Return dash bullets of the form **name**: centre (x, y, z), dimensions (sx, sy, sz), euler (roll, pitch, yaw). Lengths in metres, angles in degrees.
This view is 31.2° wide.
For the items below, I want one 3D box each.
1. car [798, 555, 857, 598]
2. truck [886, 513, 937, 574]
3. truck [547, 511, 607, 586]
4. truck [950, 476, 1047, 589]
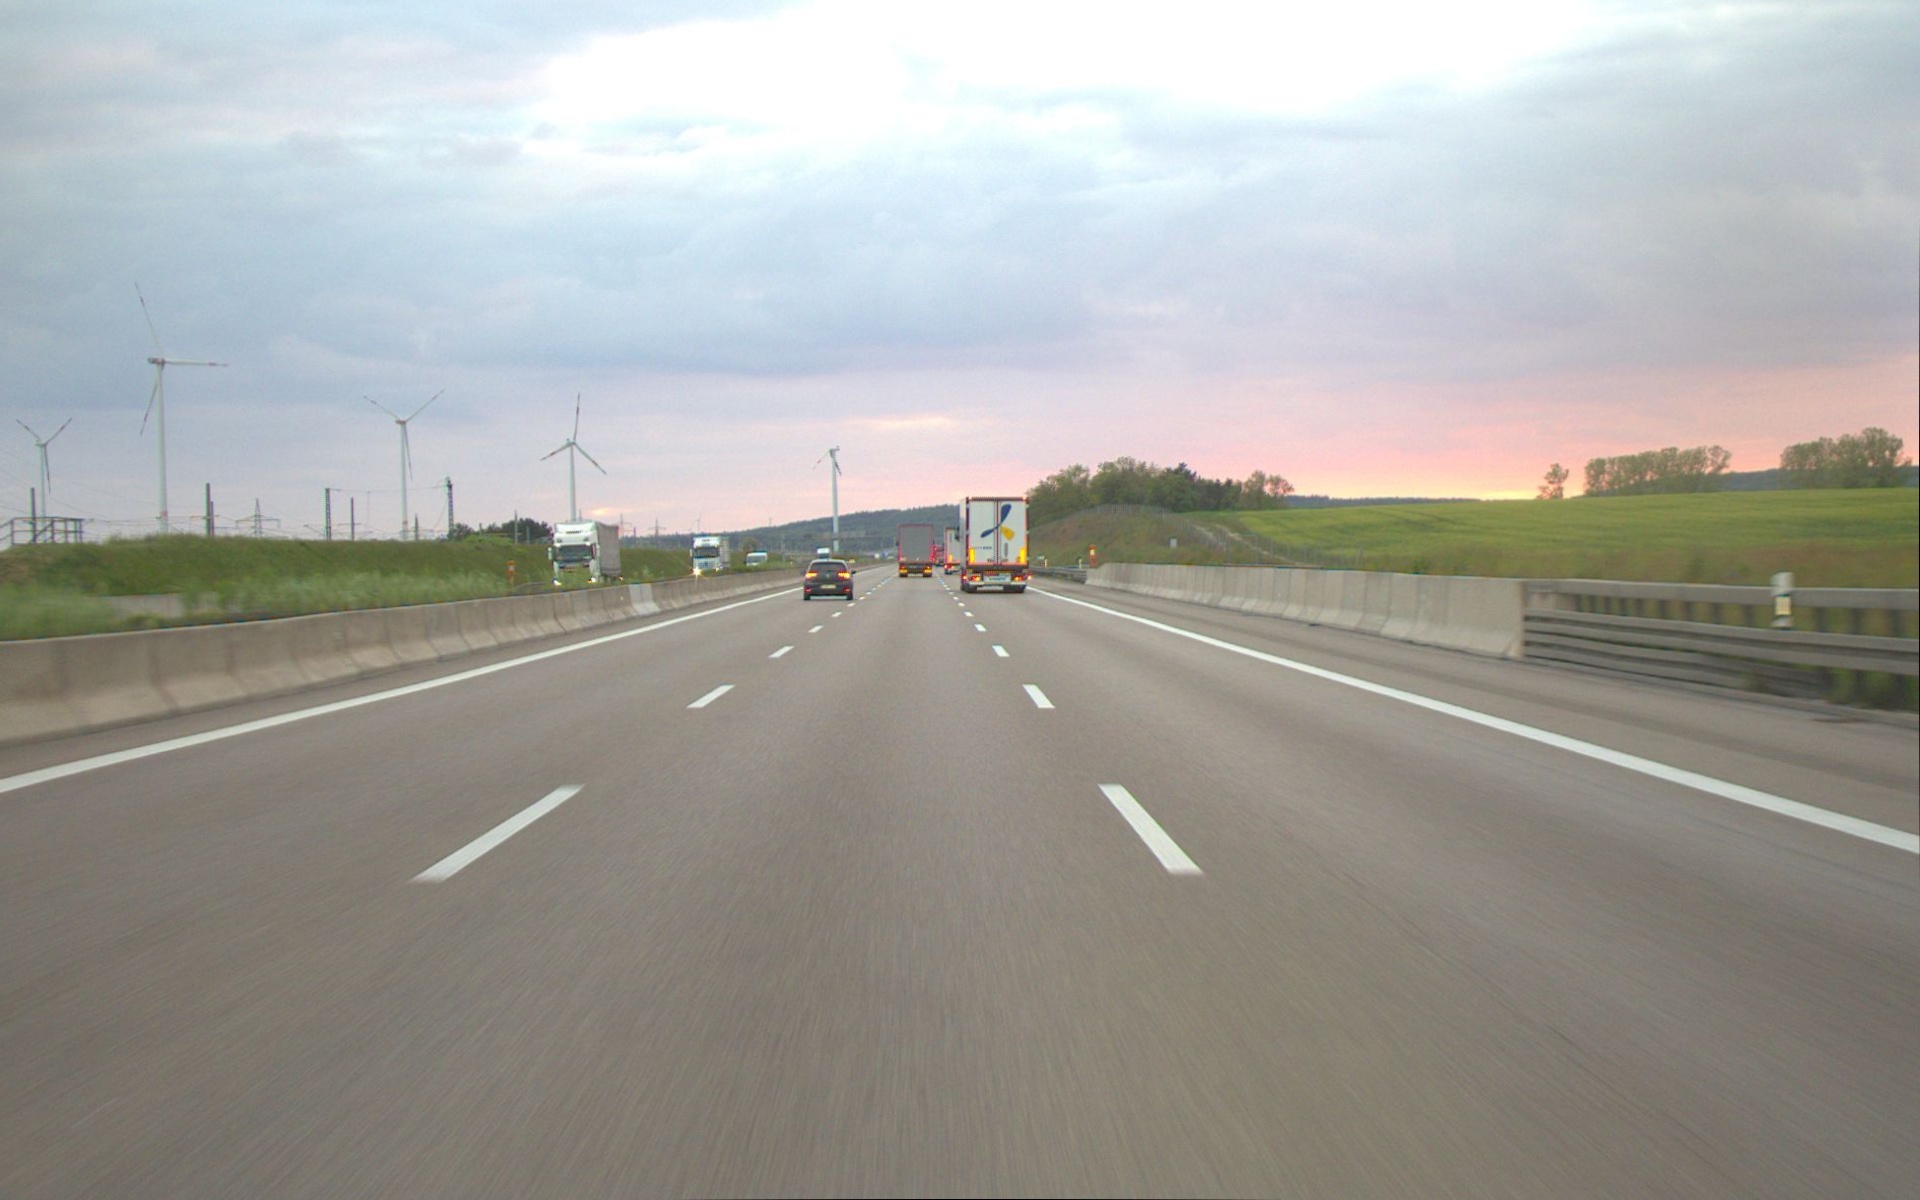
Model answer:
- **car**: centre (-4.695, -0.850, 122.084), dimensions (1.987, 1.425, 4.000), euler (-2, 1, -1)
- **truck**: centre (-3.644, -4.244, 257.860), dimensions (3.647, 4.399, 8.636), euler (-1, 1, -1)
- **truck**: centre (-22.408, -3.019, 201.496), dimensions (2.817, 4.337, 6.739), euler (0, 1, 0)
- **truck**: centre (1.556, -2.861, 146.328), dimensions (3.675, 4.549, 10.982), euler (-2, 1, -1)
